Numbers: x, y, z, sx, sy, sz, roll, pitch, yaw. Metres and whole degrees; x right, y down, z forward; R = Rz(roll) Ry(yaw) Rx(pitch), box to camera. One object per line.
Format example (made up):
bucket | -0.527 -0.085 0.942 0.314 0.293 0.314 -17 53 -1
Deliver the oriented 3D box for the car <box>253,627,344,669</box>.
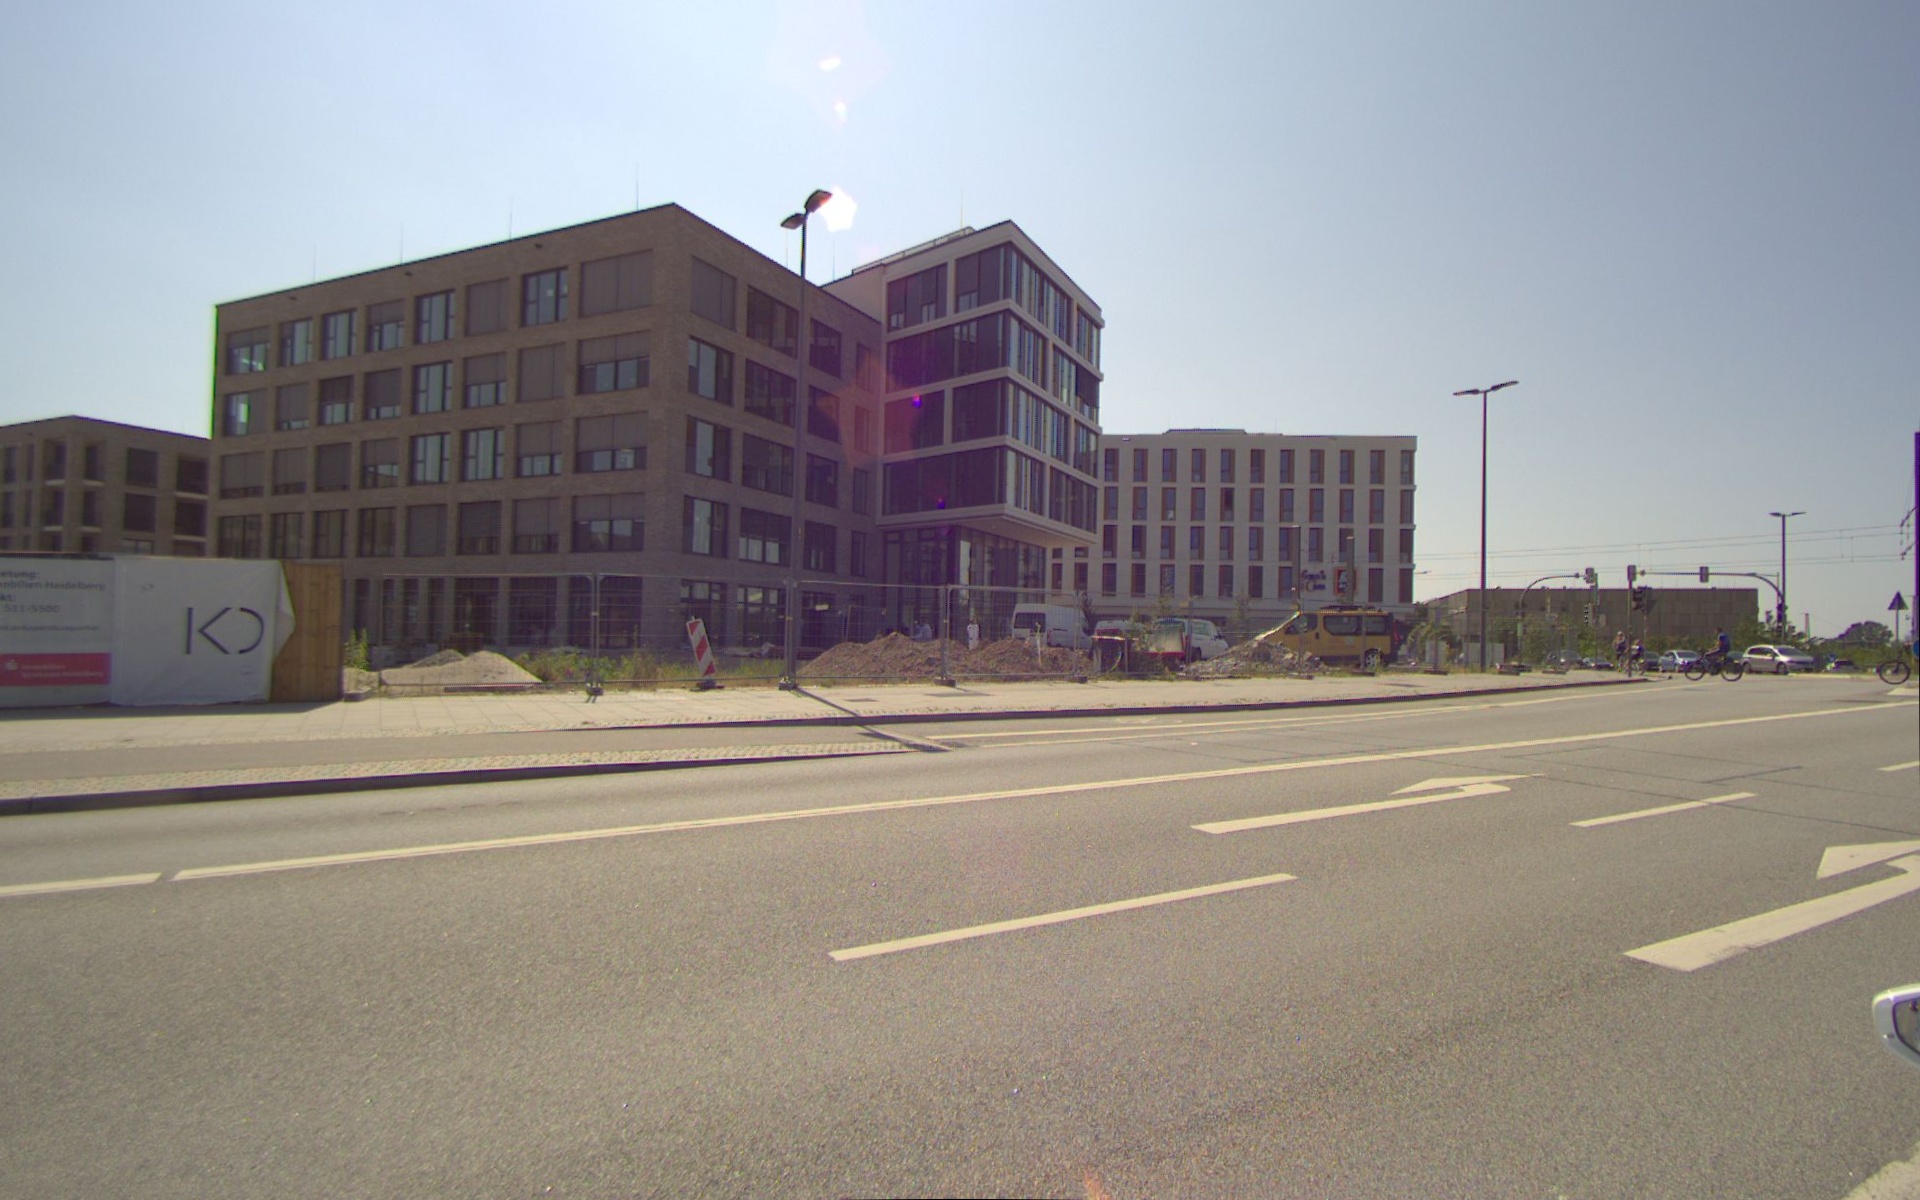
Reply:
car | -30.444 2.166 46.218 3.708 1.675 1.834 2 0 26

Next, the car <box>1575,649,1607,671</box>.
car | 57.006 5.420 90.763 1.684 1.764 4.211 2 0 22

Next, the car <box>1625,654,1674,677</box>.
car | 53.729 5.099 78.382 1.960 1.475 4.487 2 0 19

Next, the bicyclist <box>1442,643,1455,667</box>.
bicyclist | 33.164 3.730 68.139 0.707 1.524 0.824 2 -1 23

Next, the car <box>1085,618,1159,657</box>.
car | 7.115 1.598 43.757 1.773 1.528 3.991 2 0 31

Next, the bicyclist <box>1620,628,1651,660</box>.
bicyclist | 25.371 1.649 37.746 0.716 1.190 0.659 1 -1 4

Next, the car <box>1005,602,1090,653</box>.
car | 3.966 1.220 44.699 2.175 2.083 4.164 2 0 30

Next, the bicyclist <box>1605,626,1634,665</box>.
bicyclist | 26.533 1.823 40.433 0.832 1.522 0.655 2 0 45

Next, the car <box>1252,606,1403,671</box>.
car | 12.239 1.254 33.761 4.395 1.915 2.001 2 0 8

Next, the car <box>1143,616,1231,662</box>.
car | 9.597 1.616 42.223 1.969 1.730 4.546 2 0 35

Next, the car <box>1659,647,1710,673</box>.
car | 46.703 3.878 64.843 1.554 1.458 3.156 2 0 14

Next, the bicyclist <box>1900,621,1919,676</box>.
bicyclist | 28.527 1.443 29.674 0.815 1.589 0.938 2 0 -38

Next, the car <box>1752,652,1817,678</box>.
car | 44.397 3.504 54.117 1.257 1.257 2.478 2 -1 -12

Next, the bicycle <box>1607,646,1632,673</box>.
bicycle | 26.599 2.399 40.488 0.596 1.020 2.501 1 -1 39

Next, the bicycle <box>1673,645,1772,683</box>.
bicycle | 25.692 2.171 33.900 0.721 1.148 2.507 0 -5 -37

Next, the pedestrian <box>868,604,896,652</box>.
pedestrian | -3.387 1.203 43.455 0.949 2.040 0.940 2 0 -17

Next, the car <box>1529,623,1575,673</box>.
car | 26.372 2.088 44.798 1.646 2.040 3.993 2 0 30

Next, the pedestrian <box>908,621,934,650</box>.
pedestrian | -1.923 1.736 49.453 1.099 1.391 0.742 2 0 -17

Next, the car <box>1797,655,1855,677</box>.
car | 60.343 4.616 70.043 1.493 1.321 3.224 2 -1 7

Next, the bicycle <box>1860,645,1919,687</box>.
bicycle | 28.379 1.986 29.837 0.671 1.142 2.339 2 0 -37

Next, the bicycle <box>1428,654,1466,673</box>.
bicycle | 33.036 4.297 68.175 2.281 1.148 0.637 1 -1 23

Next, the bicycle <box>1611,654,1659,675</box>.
bicycle | 25.345 2.406 37.757 0.505 0.701 2.255 1 -1 6

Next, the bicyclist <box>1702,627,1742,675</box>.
bicyclist | 25.699 1.719 33.892 0.855 1.580 0.816 2 0 -36

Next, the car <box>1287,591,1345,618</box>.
car | 29.080 0.330 82.072 1.986 2.040 3.949 2 0 -43
